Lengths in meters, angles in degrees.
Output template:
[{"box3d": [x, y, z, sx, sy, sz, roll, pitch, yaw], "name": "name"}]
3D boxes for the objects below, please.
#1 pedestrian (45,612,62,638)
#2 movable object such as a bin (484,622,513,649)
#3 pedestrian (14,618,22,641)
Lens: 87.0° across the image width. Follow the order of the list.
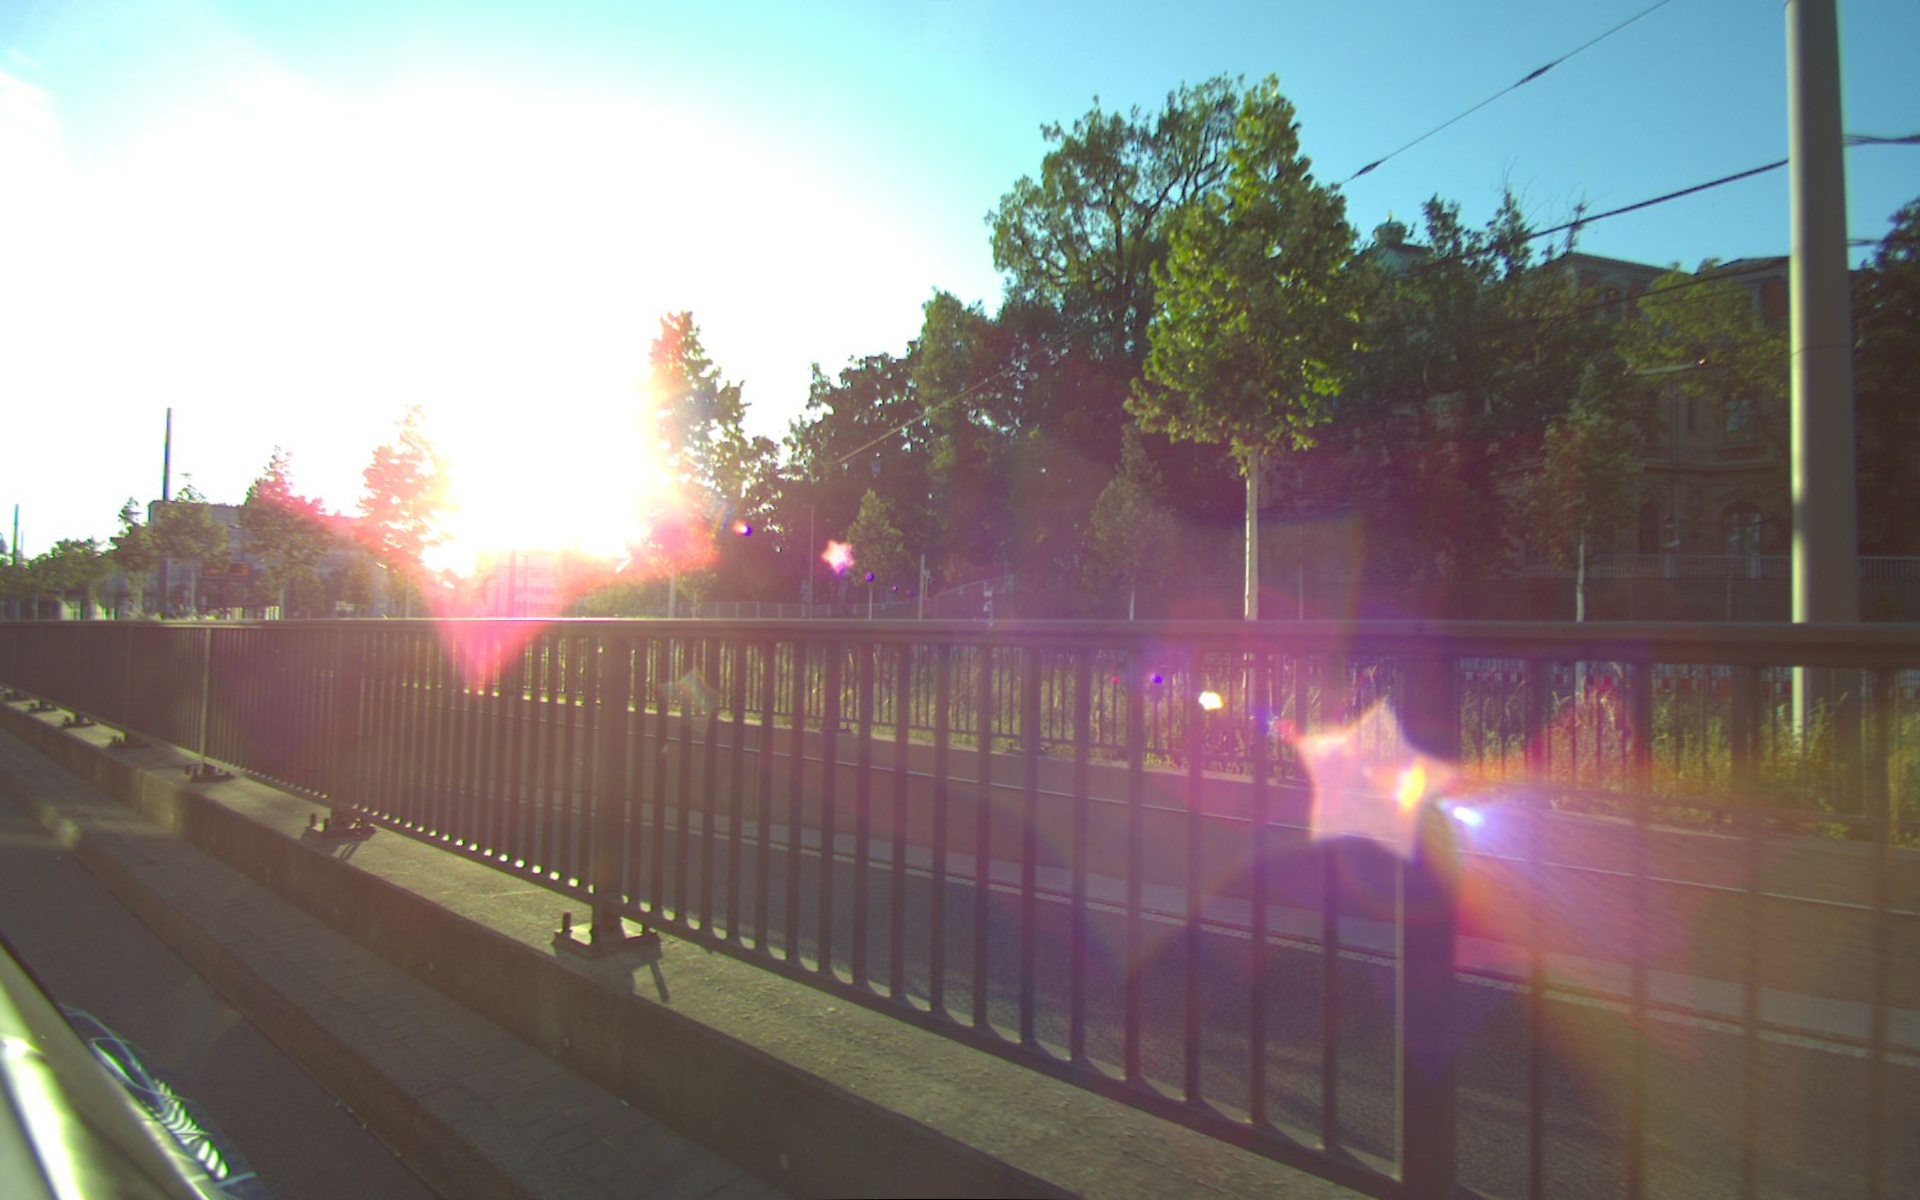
[{"box3d": [-61.696, 1.715, 68.874, 0.633, 1.742, 0.630, -1, -3, 29], "name": "pedestrian"}, {"box3d": [-48.202, 3.729, 105.595, 1.967, 2.727, 4.010, 2, -3, -35], "name": "movable object such as a bin"}, {"box3d": [-73.485, 2.294, 78.938, 0.465, 1.800, 0.627, 0, -1, -41], "name": "pedestrian"}]
